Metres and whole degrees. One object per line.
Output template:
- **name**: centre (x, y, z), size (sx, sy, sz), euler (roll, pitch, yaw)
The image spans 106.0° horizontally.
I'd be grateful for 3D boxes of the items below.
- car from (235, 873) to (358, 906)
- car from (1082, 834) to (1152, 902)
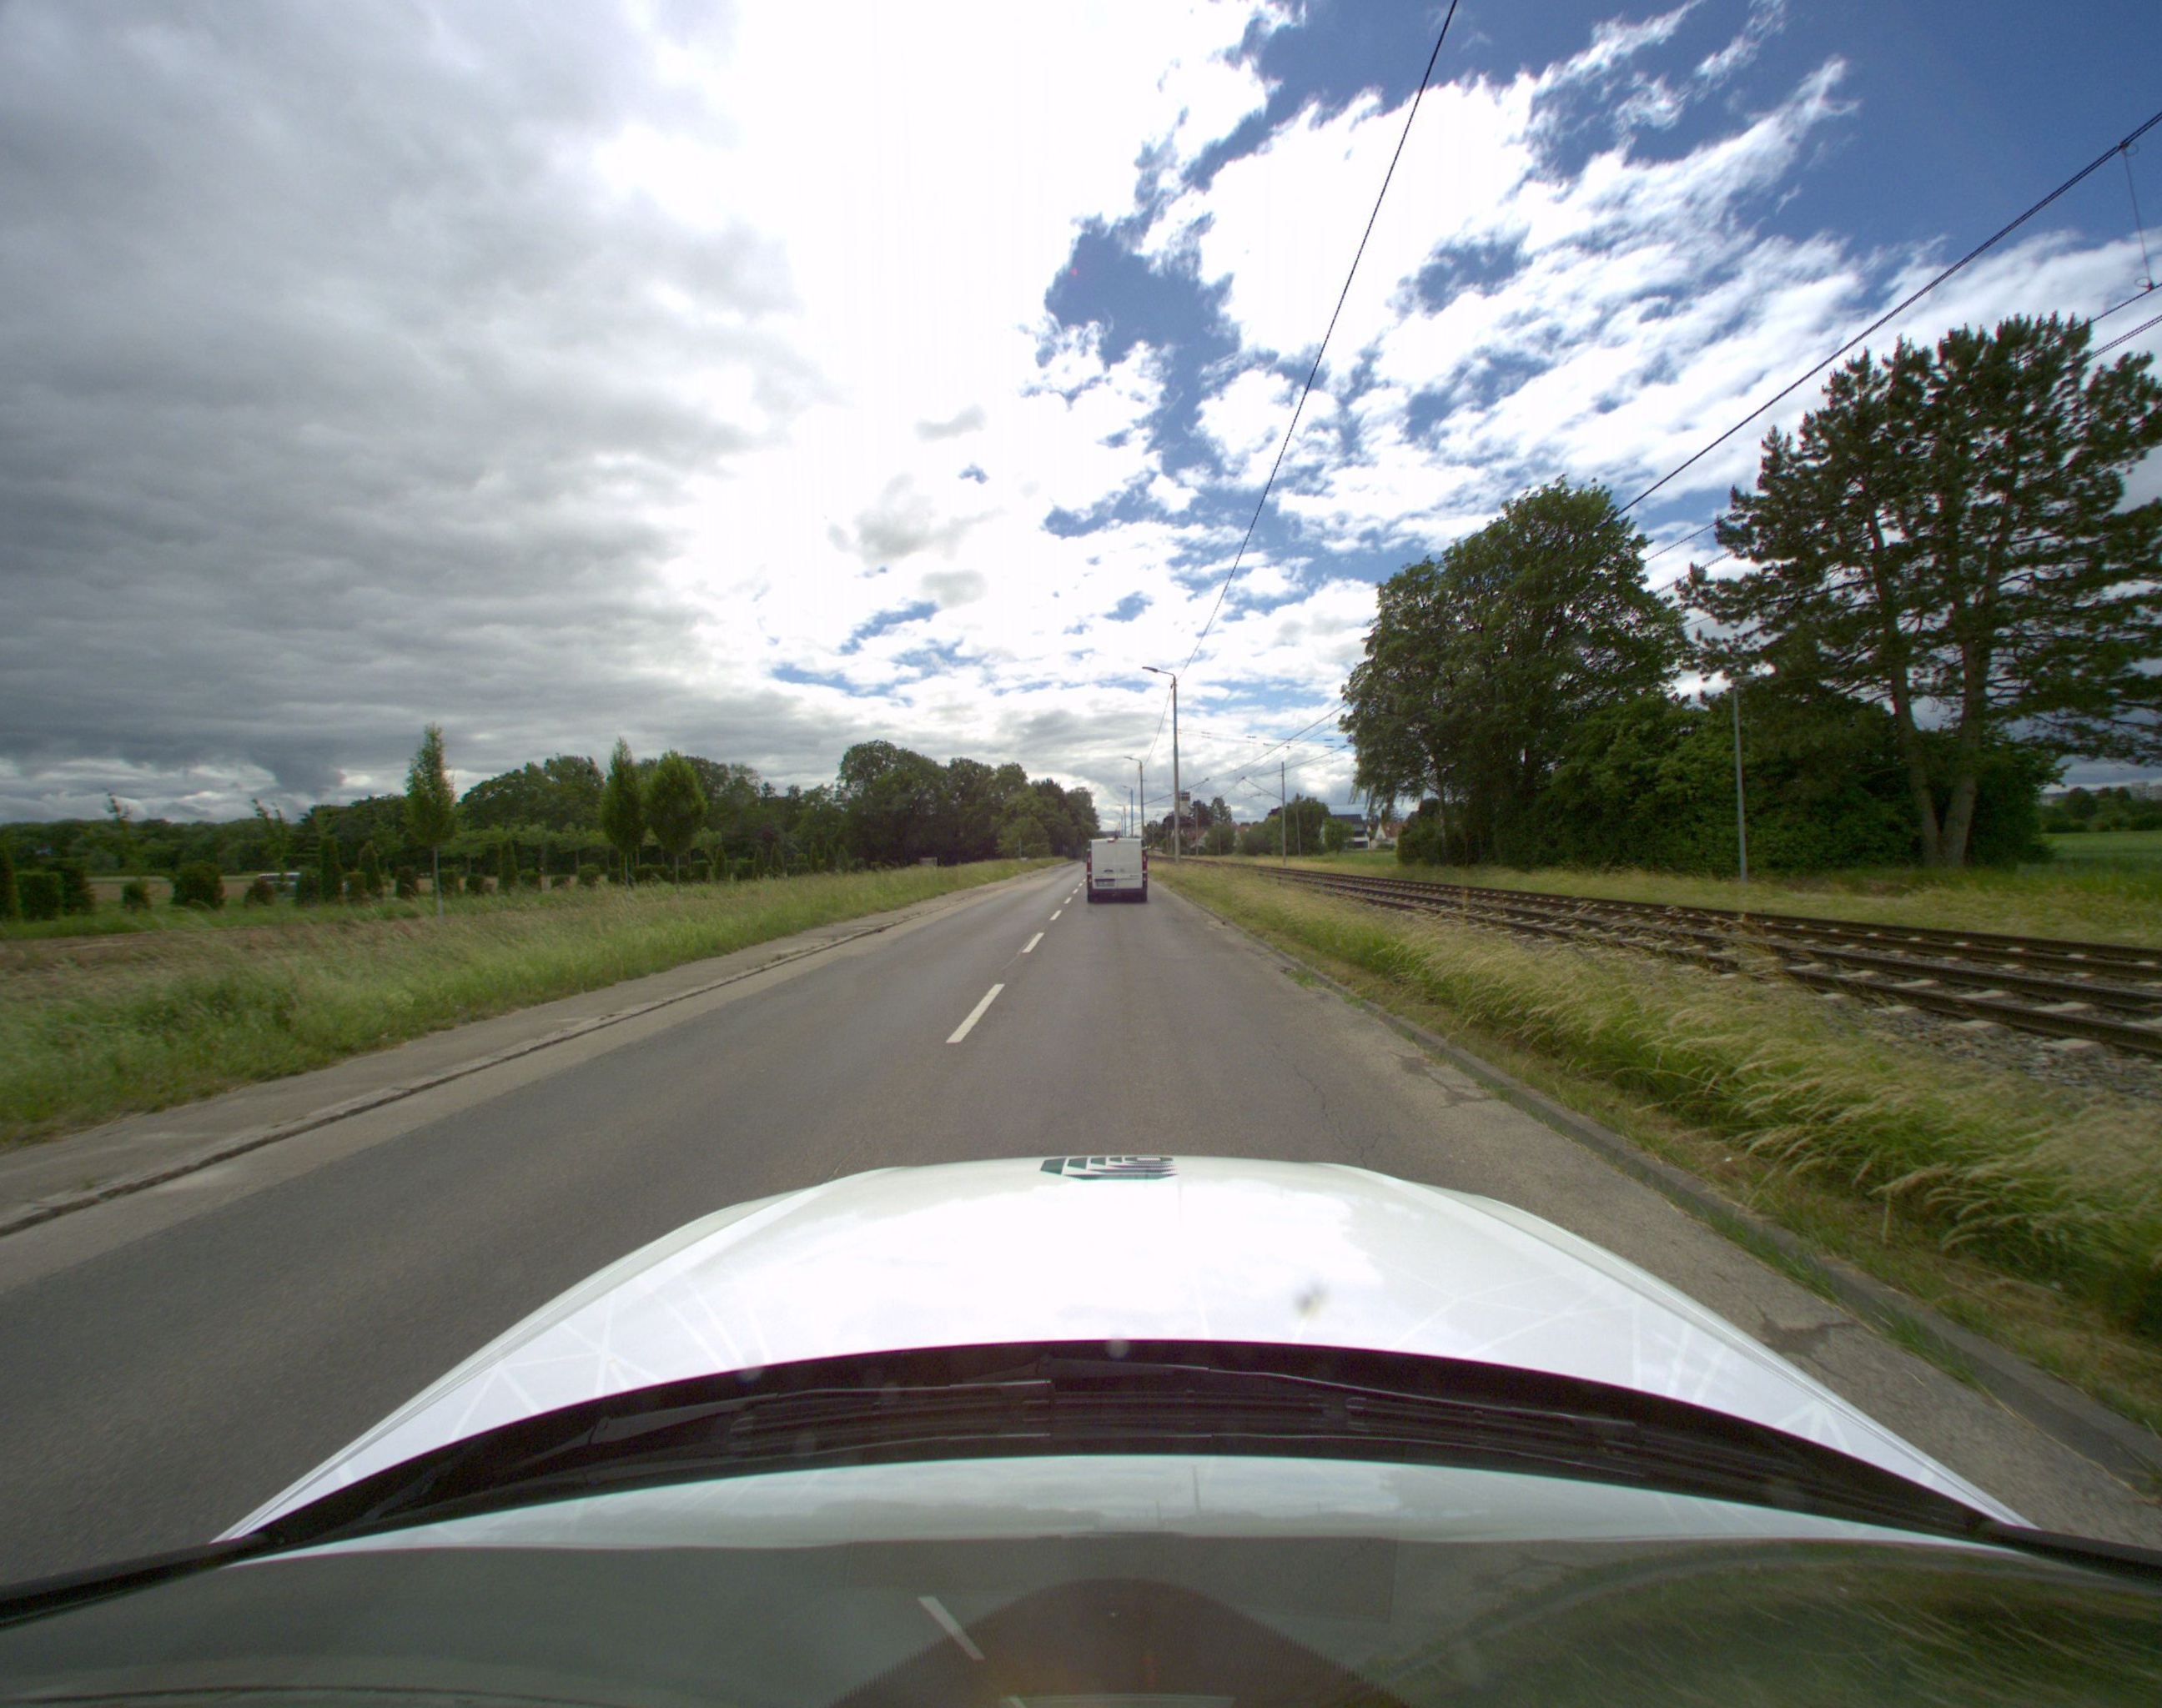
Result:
- **car**: centre (-39.803, 1.762, 41.419), size (3.994, 1.453, 1.965), euler (-2, 0, -15)
- **car**: centre (1.099, 0.418, 26.055), size (1.987, 1.957, 4.000), euler (-2, 0, 1)
